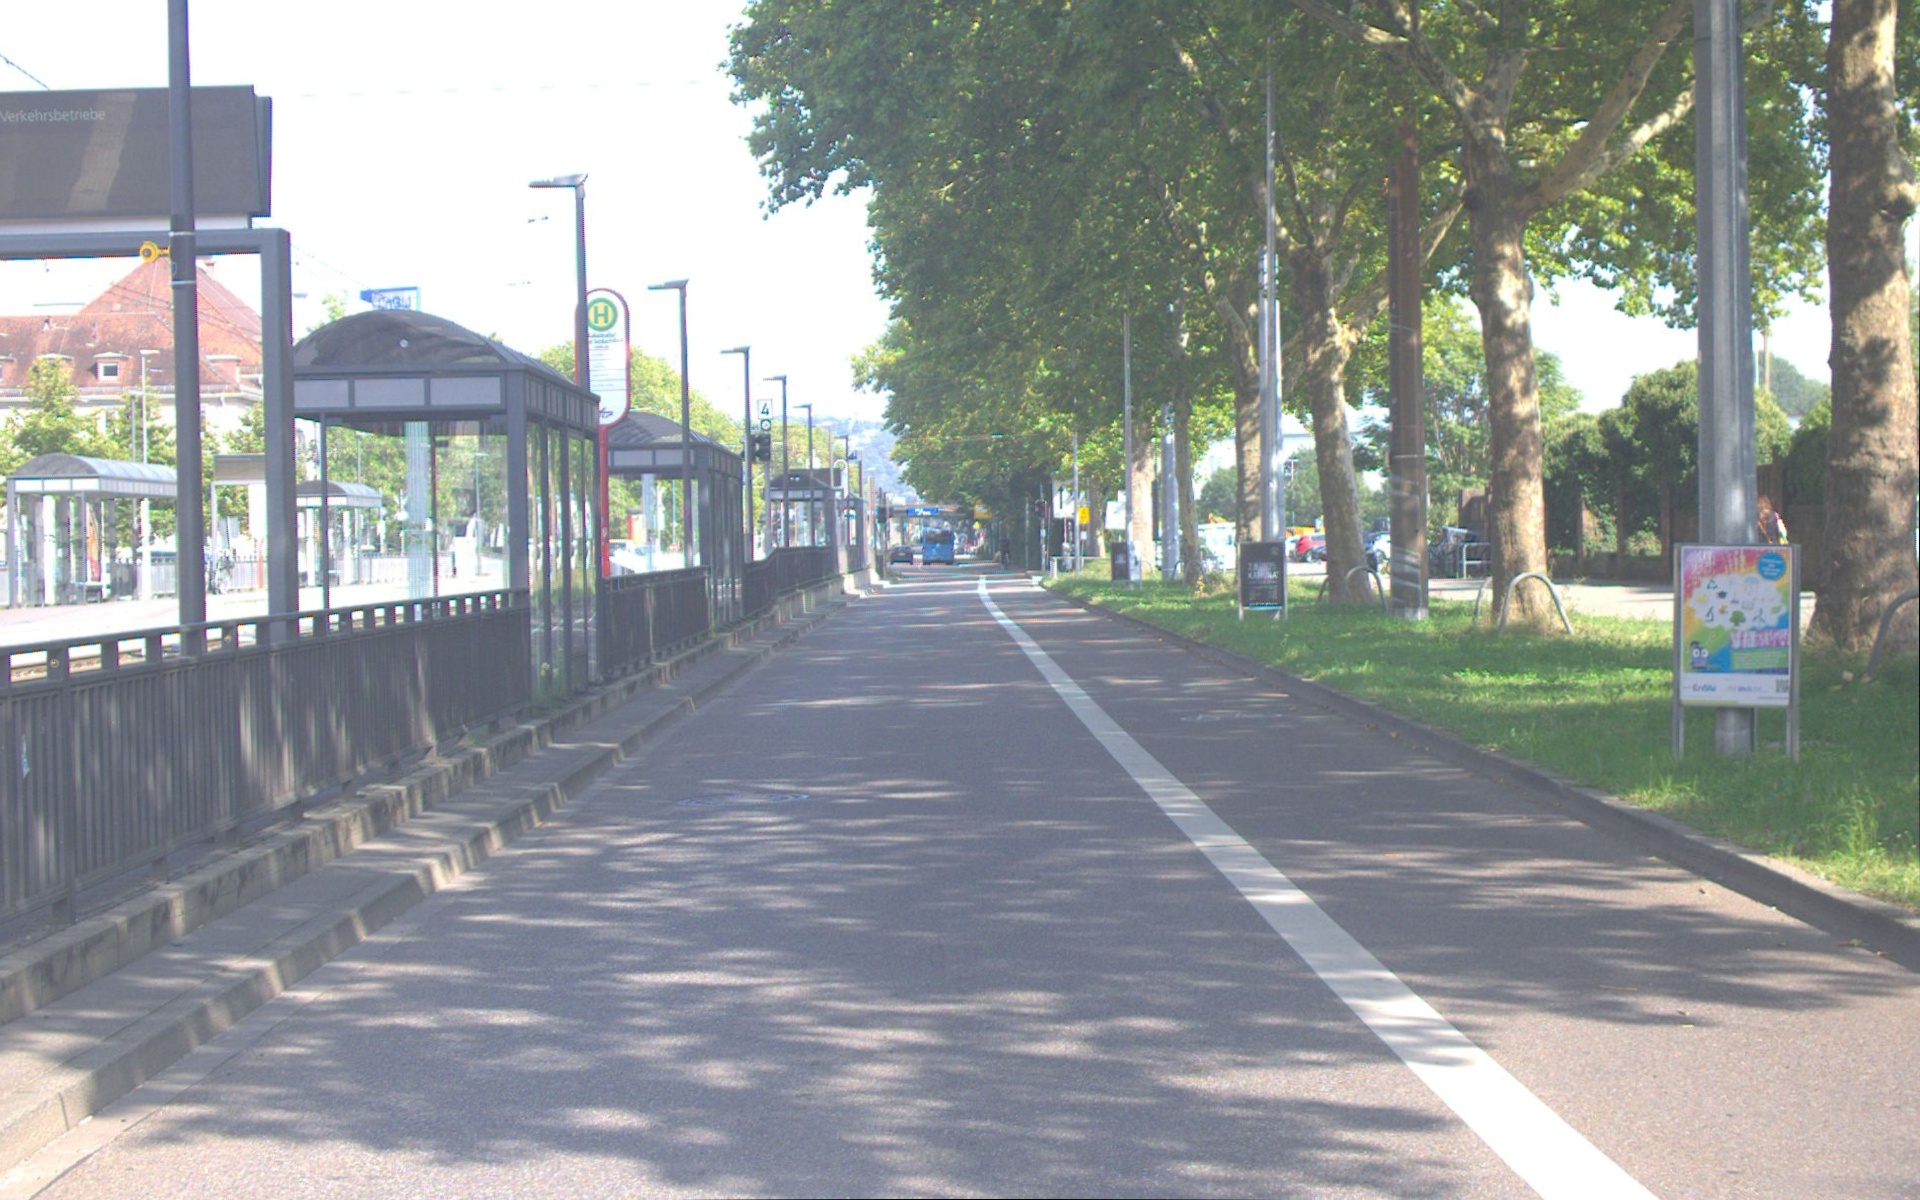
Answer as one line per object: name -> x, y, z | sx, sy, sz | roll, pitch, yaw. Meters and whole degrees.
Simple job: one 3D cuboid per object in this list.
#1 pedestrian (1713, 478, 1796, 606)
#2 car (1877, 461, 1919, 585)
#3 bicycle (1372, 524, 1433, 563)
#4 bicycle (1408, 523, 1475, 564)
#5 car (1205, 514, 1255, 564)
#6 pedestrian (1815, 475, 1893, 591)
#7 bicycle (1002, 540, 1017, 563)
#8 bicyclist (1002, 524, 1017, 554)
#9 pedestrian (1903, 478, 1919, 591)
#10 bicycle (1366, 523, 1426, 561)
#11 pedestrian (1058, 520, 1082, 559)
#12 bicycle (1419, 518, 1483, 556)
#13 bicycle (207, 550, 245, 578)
pedestrian -> 10.447, -0.759, 45.234 | 0.806, 1.630, 0.947 | -3, 1, 0
car -> 20.015, -1.452, 65.288 | 4.662, 2.310, 2.056 | 0, 1, 0
bicycle -> 11.818, -1.501, 91.892 | 0.505, 0.966, 1.661 | -4, 1, -41
bicycle -> 12.544, -1.479, 89.548 | 1.656, 0.966, 0.506 | -3, 1, 6
car -> 11.271, -2.554, 143.633 | 1.722, 2.041, 4.462 | -1, 1, 0
pedestrian -> 12.724, -0.957, 48.939 | 0.806, 1.598, 0.947 | -3, 1, 0
bicycle -> 2.364, -2.322, 164.344 | 0.715, 1.104, 2.509 | 0, 1, 0
bicyclist -> 2.363, -2.918, 164.348 | 0.705, 1.456, 1.009 | 0, 1, 0
pedestrian -> 13.951, -0.940, 48.773 | 0.806, 1.598, 0.947 | -3, 1, 0
bicycle -> 11.814, -1.569, 93.163 | 0.505, 0.966, 1.661 | -4, 1, -41
pedestrian -> 4.691, -2.584, 146.789 | 0.626, 1.612, 0.843 | -1, 1, 38
bicycle -> 13.439, -1.726, 94.097 | 1.656, 0.966, 0.506 | -3, 1, 3
bicycle -> -18.122, -0.887, 84.900 | 0.477, 0.660, 1.613 | -1, 1, 4
